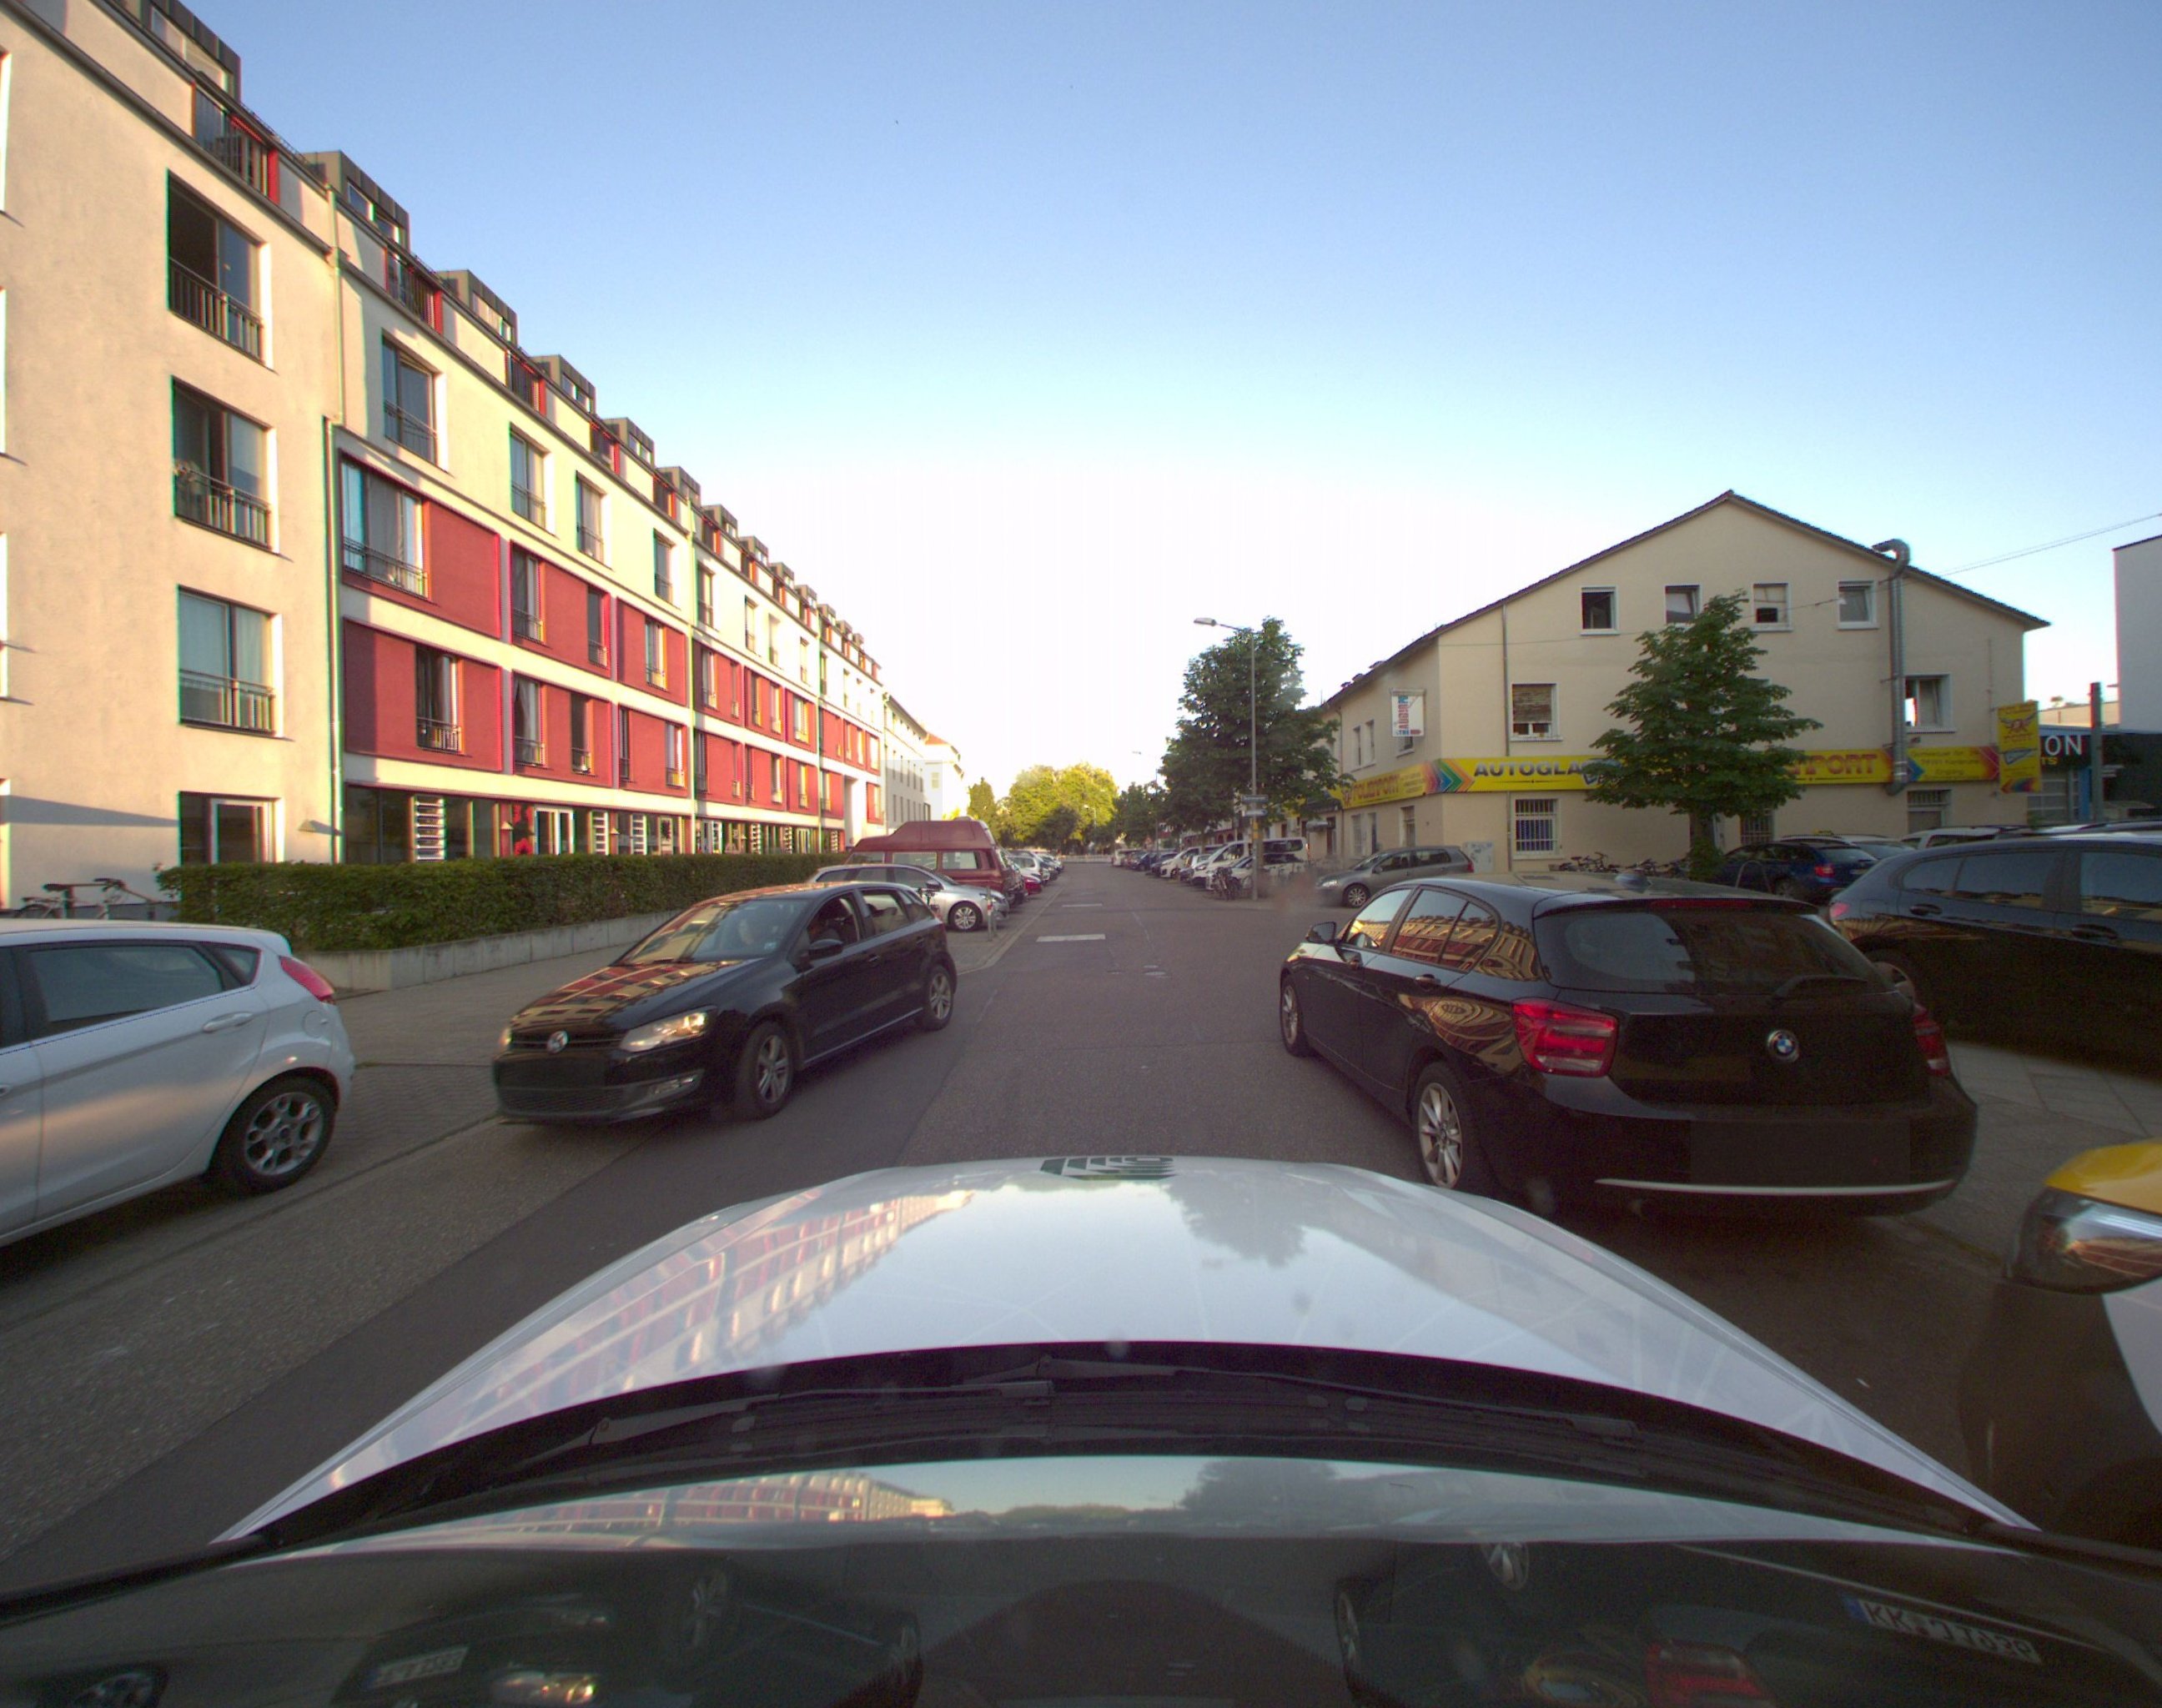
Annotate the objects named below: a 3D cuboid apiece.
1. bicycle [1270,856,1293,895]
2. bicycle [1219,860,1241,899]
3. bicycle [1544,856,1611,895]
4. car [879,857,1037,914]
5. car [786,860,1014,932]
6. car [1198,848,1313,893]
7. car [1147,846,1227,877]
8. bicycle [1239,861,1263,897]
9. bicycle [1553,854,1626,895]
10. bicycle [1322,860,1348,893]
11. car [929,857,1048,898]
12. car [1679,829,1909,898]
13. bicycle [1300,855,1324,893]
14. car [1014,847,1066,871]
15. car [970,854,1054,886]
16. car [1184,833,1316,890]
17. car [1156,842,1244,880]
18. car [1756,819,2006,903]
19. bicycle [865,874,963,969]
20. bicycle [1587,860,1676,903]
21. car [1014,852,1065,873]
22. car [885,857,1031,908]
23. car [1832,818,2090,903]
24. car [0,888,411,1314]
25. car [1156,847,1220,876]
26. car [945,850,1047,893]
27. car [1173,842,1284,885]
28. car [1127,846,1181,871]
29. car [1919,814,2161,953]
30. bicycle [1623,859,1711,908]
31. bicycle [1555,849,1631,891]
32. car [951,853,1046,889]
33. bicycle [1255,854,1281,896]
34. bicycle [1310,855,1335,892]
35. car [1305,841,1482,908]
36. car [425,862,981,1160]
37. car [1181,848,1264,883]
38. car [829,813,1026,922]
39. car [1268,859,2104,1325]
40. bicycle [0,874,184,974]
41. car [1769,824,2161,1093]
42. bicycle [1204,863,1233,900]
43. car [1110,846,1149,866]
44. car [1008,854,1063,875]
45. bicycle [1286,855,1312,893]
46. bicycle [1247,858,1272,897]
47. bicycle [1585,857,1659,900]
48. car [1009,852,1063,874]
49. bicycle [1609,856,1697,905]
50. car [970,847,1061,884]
[{"bbox_3d":[6.585,0.691,26.809,0.384,1.200,1.482,-3,0,1],"label":"bicycle"},{"bbox_3d":[4.919,0.819,26.959,0.384,1.200,2.018,-3,0,1],"label":"bicycle"},{"bbox_3d":[13.392,0.578,21.970,1.597,1.019,0.343,0,2,-1],"label":"bicycle"},{"bbox_3d":[-3.388,0.849,23.029,4.197,1.538,1.790,0,0,-1],"label":"car"},{"bbox_3d":[-3.827,0.880,17.886,4.604,1.460,1.879,0,0,-3],"label":"car"},{"bbox_3d":[6.607,0.618,31.096,3.908,1.451,1.767,-3,0,-2],"label":"car"},{"bbox_3d":[6.975,0.494,53.992,4.929,1.689,2.076,-3,0,-1],"label":"car"},{"bbox_3d":[5.628,0.804,26.982,0.384,1.114,2.018,-3,0,1],"label":"bicycle"},{"bbox_3d":[13.484,0.546,21.620,1.725,1.070,0.343,0,2,-1],"label":"bicycle"},{"bbox_3d":[8.358,0.739,26.871,0.386,1.017,1.482,-3,0,1],"label":"bicycle"},{"bbox_3d":[-3.409,0.857,30.640,4.193,1.490,1.850,0,0,1],"label":"car"},{"bbox_3d":[17.685,0.223,20.560,1.736,1.509,4.570,-2,0,-1],"label":"car"},{"bbox_3d":[7.587,0.638,26.755,0.351,1.200,1.482,-3,0,1],"label":"bicycle"},{"bbox_3d":[-3.706,0.411,73.965,4.518,2.134,2.000,0,0,1],"label":"car"},{"bbox_3d":[-3.578,0.834,42.893,4.242,1.652,1.888,0,0,1],"label":"car"},{"bbox_3d":[6.925,0.309,33.881,4.972,1.983,2.220,-3,0,1],"label":"car"},{"bbox_3d":[7.138,0.394,49.135,4.929,1.958,2.048,-3,0,-1],"label":"car"},{"bbox_3d":[19.913,0.110,20.626,1.866,1.831,4.577,-2,1,0],"label":"car"},{"bbox_3d":[-2.490,0.952,12.571,0.804,1.221,2.867,0,0,3],"label":"bicycle"},{"bbox_3d":[13.416,0.662,19.879,1.842,1.010,0.428,0,2,2],"label":"bicycle"},{"bbox_3d":[-3.608,0.734,71.324,4.242,1.749,2.000,0,0,1],"label":"car"},{"bbox_3d":[-3.797,0.858,25.601,4.187,1.538,1.845,0,0,6],"label":"car"},{"bbox_3d":[22.216,0.197,20.883,1.866,1.902,4.331,-2,-2,0],"label":"car"},{"bbox_3d":[-4.931,0.990,3.006,1.646,1.530,4.014,-1,0,-2],"label":"car"},{"bbox_3d":[7.700,0.555,58.890,4.304,1.804,1.810,-3,0,-1],"label":"car"},{"bbox_3d":[-3.714,0.749,36.065,4.242,1.836,2.000,0,0,1],"label":"car"},{"bbox_3d":[7.025,0.455,39.225,4.925,1.742,2.050,-3,0,1],"label":"car"},{"bbox_3d":[6.403,0.374,71.646,4.470,1.911,1.685,-3,0,-4],"label":"car"},{"bbox_3d":[14.415,0.333,10.973,4.306,1.672,1.877,-2,-2,-1],"label":"car"},{"bbox_3d":[13.508,0.677,18.792,1.848,1.075,0.427,-1,2,-8],"label":"bicycle"},{"bbox_3d":[14.123,0.442,22.484,1.853,1.149,0.344,0,2,2],"label":"bicycle"},{"bbox_3d":[-3.847,0.789,38.540,4.242,1.660,2.000,0,0,1],"label":"car"},{"bbox_3d":[6.169,0.665,26.972,0.384,1.304,2.018,-3,0,1],"label":"bicycle"},{"bbox_3d":[7.949,0.630,26.832,0.351,1.143,1.482,-3,0,1],"label":"bicycle"},{"bbox_3d":[8.240,0.516,21.718,4.035,1.514,1.757,-3,2,1],"label":"car"},{"bbox_3d":[-2.402,0.899,6.394,1.639,1.455,3.959,-4,0,17],"label":"car"},{"bbox_3d":[7.238,0.597,41.855,3.897,1.526,1.940,-3,0,1],"label":"car"},{"bbox_3d":[-3.750,0.313,20.466,4.493,2.584,2.001,0,0,2],"label":"car"},{"bbox_3d":[2.386,0.759,4.682,1.715,1.424,4.254,0,0,1],"label":"car"},{"bbox_3d":[-12.027,0.827,9.831,1.768,1.148,0.611,0,0,3],"label":"bicycle"},{"bbox_3d":[6.710,0.545,4.684,1.720,1.424,4.423,-3,0,0],"label":"car"},{"bbox_3d":[4.501,0.892,26.777,0.437,1.130,2.014,-3,0,-4],"label":"bicycle"},{"bbox_3d":[5.162,0.215,87.101,3.960,1.911,2.046,-3,0,-4],"label":"car"},{"bbox_3d":[-3.532,0.818,63.808,4.243,1.622,2.000,0,0,0],"label":"car"},{"bbox_3d":[7.159,0.646,26.770,0.443,1.200,1.482,-3,0,1],"label":"bicycle"},{"bbox_3d":[5.910,0.749,26.965,0.384,1.200,2.018,-3,0,1],"label":"bicycle"},{"bbox_3d":[13.550,0.610,20.404,1.596,1.041,0.344,0,2,2],"label":"bicycle"},{"bbox_3d":[-3.647,0.733,66.552,4.242,1.714,2.000,0,0,1],"label":"car"},{"bbox_3d":[13.500,0.619,19.237,1.916,1.128,0.427,-1,0,-8],"label":"bicycle"},{"bbox_3d":[-3.603,0.651,45.450,4.833,2.021,1.907,0,0,1],"label":"car"}]
